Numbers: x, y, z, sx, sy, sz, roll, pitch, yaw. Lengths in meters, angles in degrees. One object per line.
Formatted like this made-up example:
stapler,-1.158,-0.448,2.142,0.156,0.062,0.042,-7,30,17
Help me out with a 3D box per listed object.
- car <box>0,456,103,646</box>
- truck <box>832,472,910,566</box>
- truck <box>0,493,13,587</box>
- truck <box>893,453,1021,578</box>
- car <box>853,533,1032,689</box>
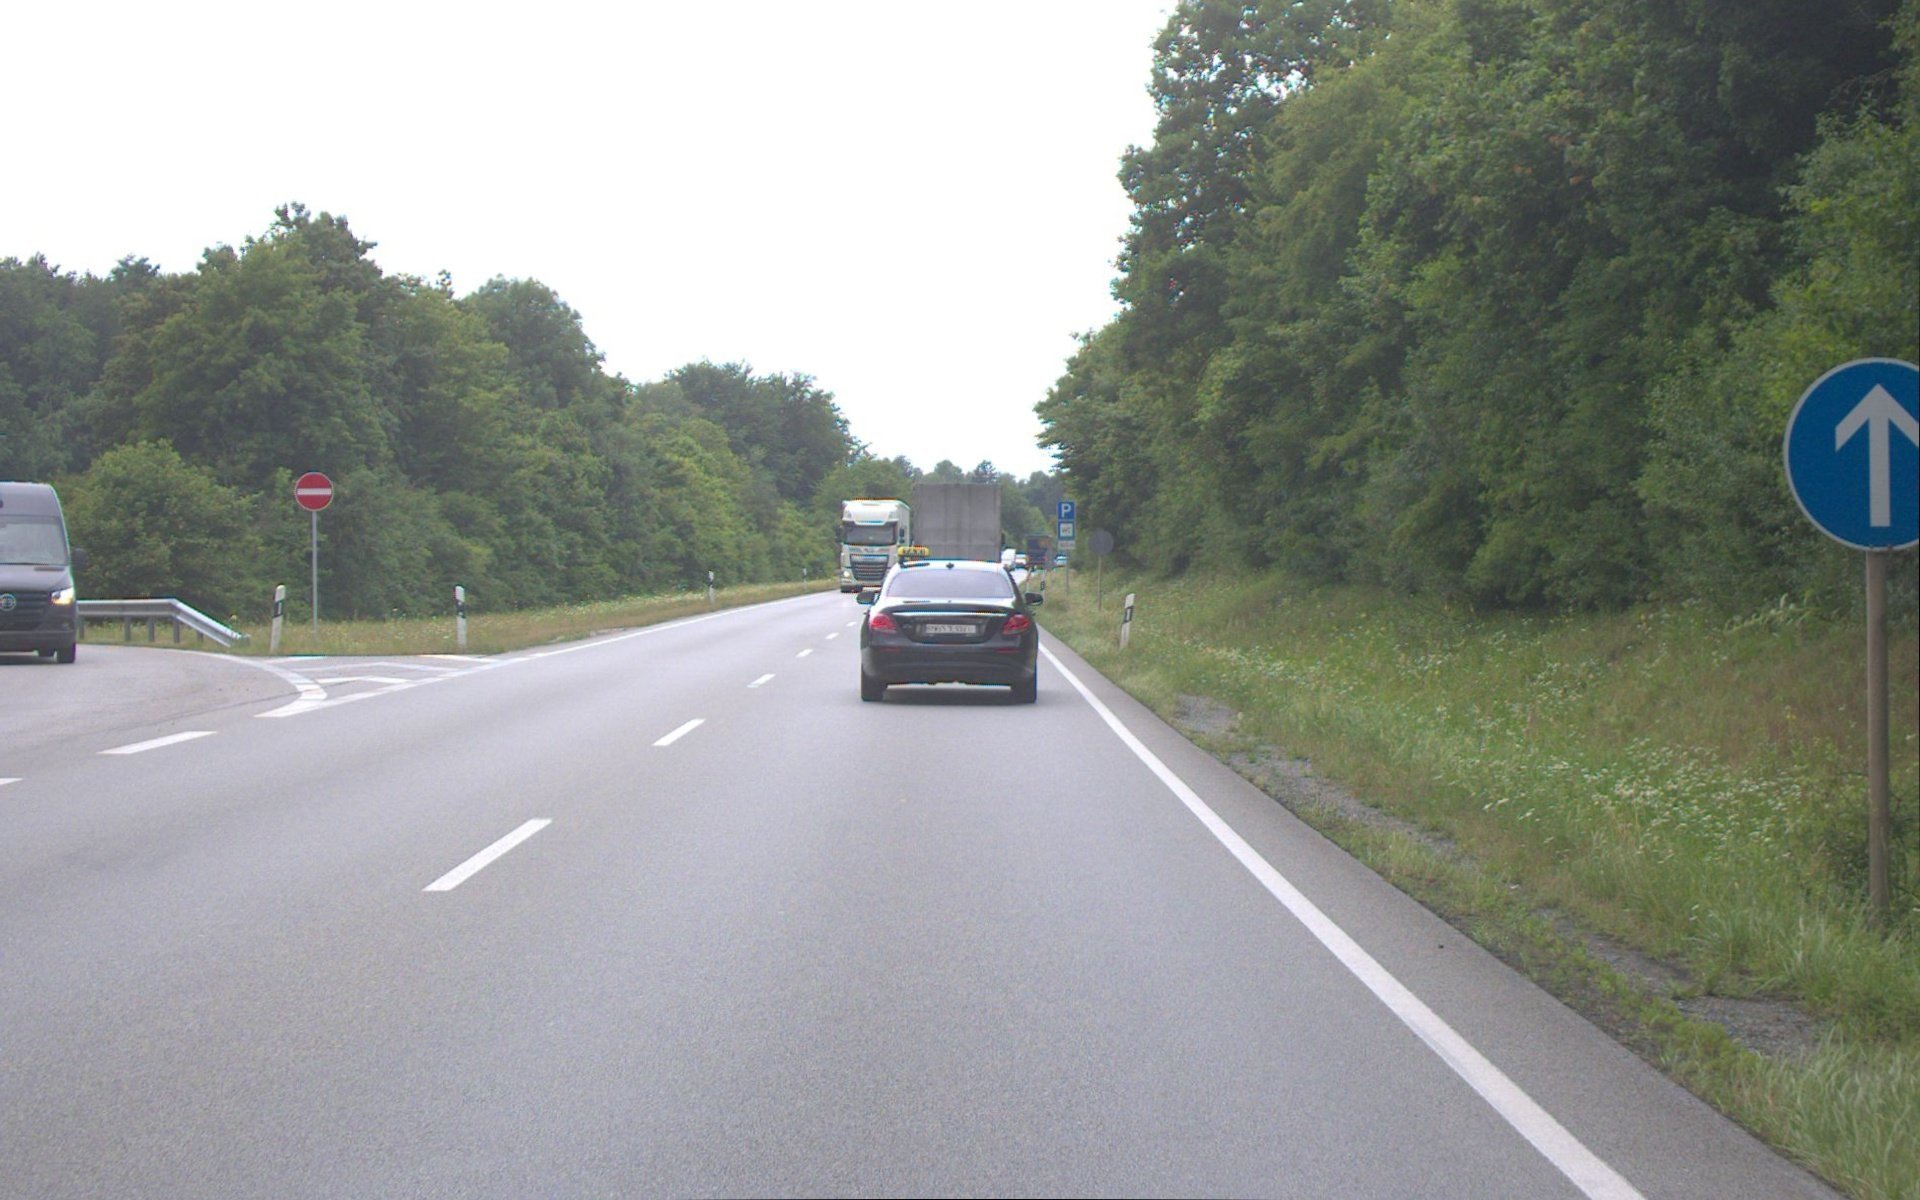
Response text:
car,-13.767,-0.681,49.791,2.255,2.521,7.166,-2,1,-12
truck,-3.954,-3.583,154.611,3.189,4.048,9.576,1,1,0
truck,-31.843,-1.918,108.342,1.993,3.002,7.227,1,1,0
truck,0.019,-2.523,105.602,3.281,3.599,11.399,1,1,3
car,-0.210,0.091,36.649,1.791,1.547,4.000,1,1,-1
